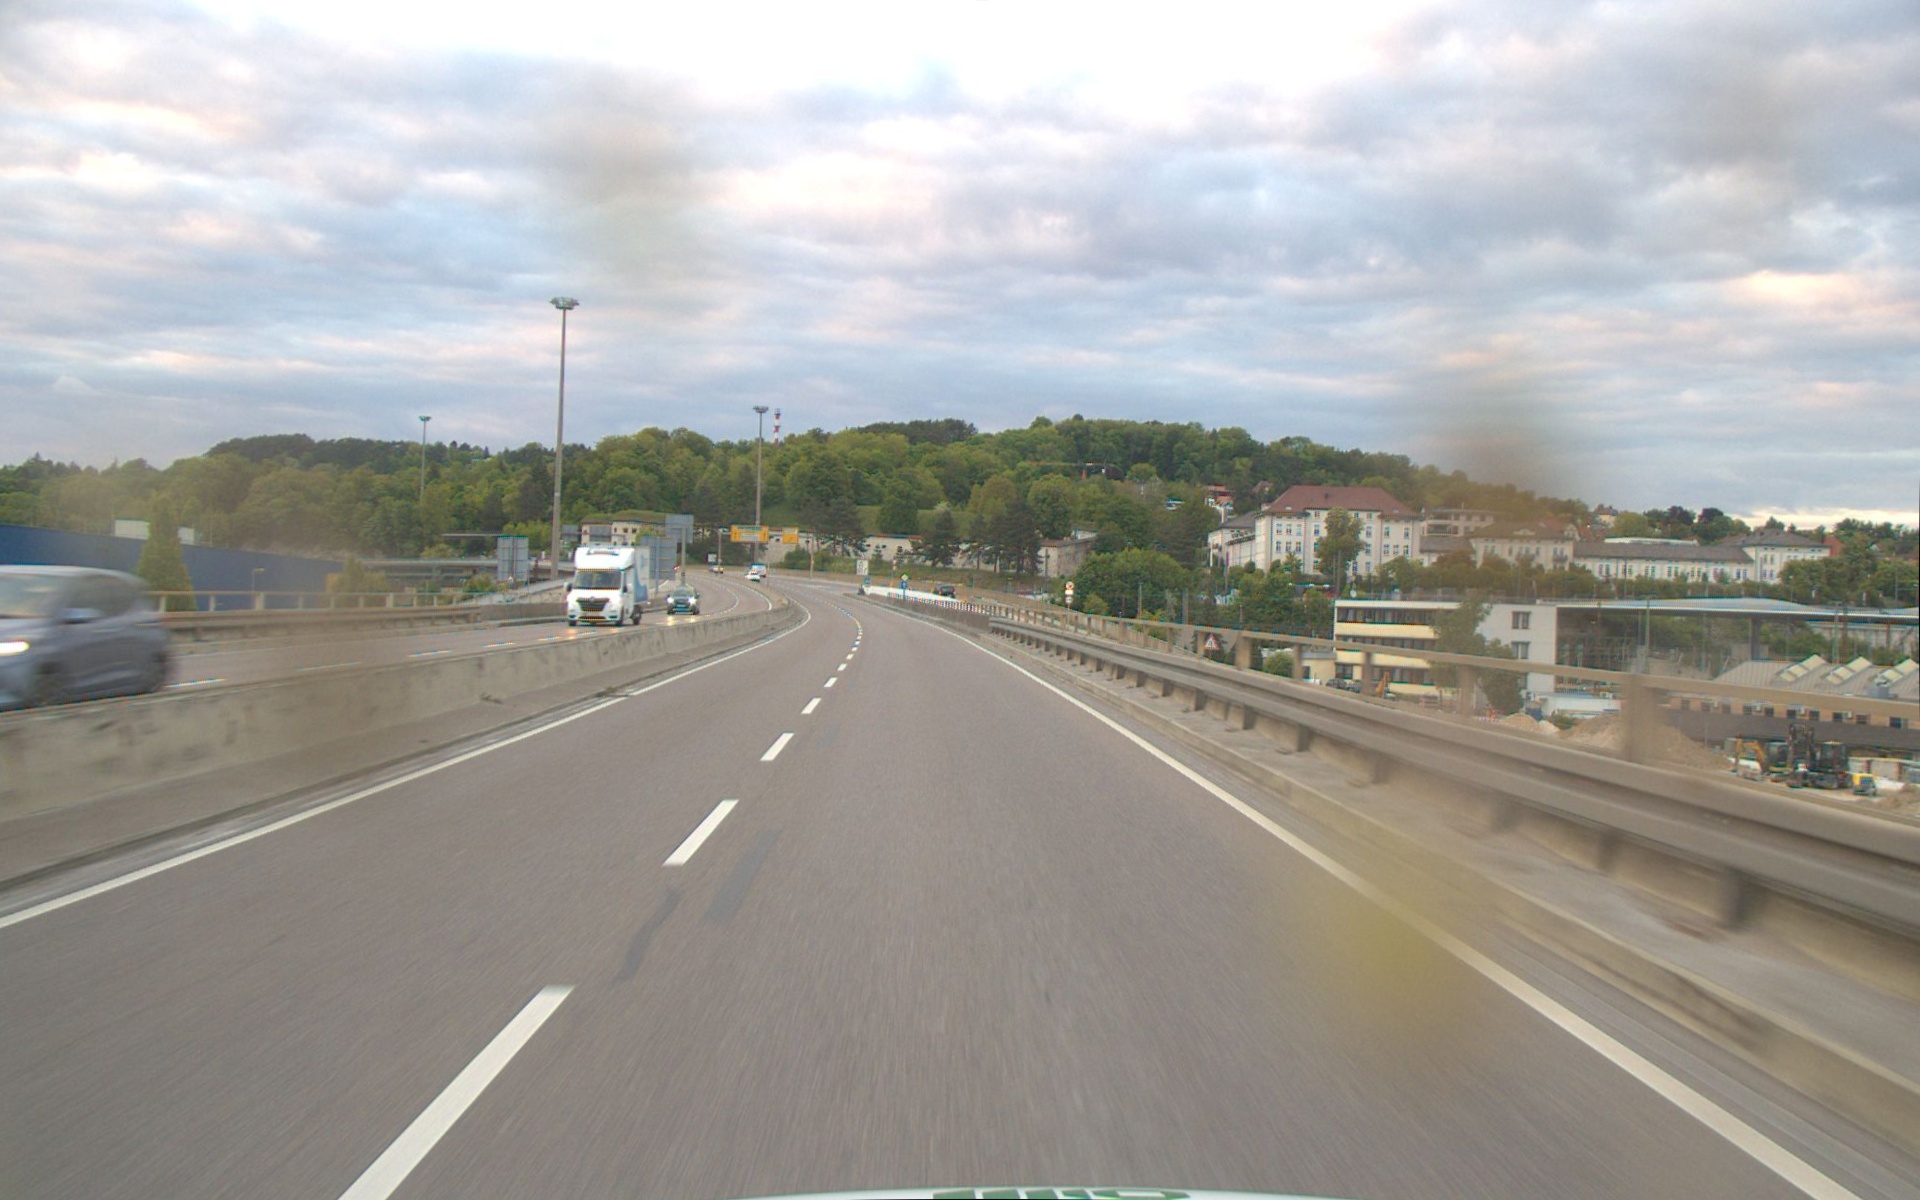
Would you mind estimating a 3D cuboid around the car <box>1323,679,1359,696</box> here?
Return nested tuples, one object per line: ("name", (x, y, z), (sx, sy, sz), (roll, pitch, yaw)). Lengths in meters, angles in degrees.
("car", (42.778, 9.830, 185.606), (3.959, 1.592, 1.808), (5, 2, -38))

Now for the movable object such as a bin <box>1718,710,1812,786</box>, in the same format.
("movable object such as a bin", (55.079, 10.123, 113.148), (4.868, 4.382, 2.770), (8, -1, -19))

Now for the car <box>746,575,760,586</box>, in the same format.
("car", (-29.113, -2.764, 232.872), (1.602, 1.412, 3.988), (0, 2, -12))

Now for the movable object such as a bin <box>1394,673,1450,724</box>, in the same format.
("movable object such as a bin", (45.945, 9.799, 164.542), (2.732, 4.382, 4.937), (8, -1, -16))

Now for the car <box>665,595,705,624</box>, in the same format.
("car", (-16.189, 0.540, 97.514), (1.938, 1.634, 4.437), (1, 0, -4))

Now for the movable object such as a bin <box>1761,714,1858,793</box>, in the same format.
("movable object such as a bin", (56.155, 10.134, 109.367), (4.868, 4.382, 2.770), (8, -1, -19))

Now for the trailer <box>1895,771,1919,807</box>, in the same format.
("trailer", (56.464, 11.179, 95.675), (1.959, 1.834, 3.835), (7, 0, -10))

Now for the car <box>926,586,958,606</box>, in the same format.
("car", (-1.755, -0.369, 163.644), (2.265, 1.794, 4.249), (3, 1, -13))

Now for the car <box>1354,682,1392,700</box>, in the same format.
("car", (44.570, 9.848, 178.629), (3.959, 1.592, 1.808), (5, 2, -38))

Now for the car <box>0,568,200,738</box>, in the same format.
("car", (-9.093, 0.430, 16.333), (1.596, 1.466, 3.833), (1, 1, -4))

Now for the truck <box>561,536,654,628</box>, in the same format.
("truck", (-13.654, -0.659, 64.552), (2.485, 3.354, 7.440), (1, 0, -4))
